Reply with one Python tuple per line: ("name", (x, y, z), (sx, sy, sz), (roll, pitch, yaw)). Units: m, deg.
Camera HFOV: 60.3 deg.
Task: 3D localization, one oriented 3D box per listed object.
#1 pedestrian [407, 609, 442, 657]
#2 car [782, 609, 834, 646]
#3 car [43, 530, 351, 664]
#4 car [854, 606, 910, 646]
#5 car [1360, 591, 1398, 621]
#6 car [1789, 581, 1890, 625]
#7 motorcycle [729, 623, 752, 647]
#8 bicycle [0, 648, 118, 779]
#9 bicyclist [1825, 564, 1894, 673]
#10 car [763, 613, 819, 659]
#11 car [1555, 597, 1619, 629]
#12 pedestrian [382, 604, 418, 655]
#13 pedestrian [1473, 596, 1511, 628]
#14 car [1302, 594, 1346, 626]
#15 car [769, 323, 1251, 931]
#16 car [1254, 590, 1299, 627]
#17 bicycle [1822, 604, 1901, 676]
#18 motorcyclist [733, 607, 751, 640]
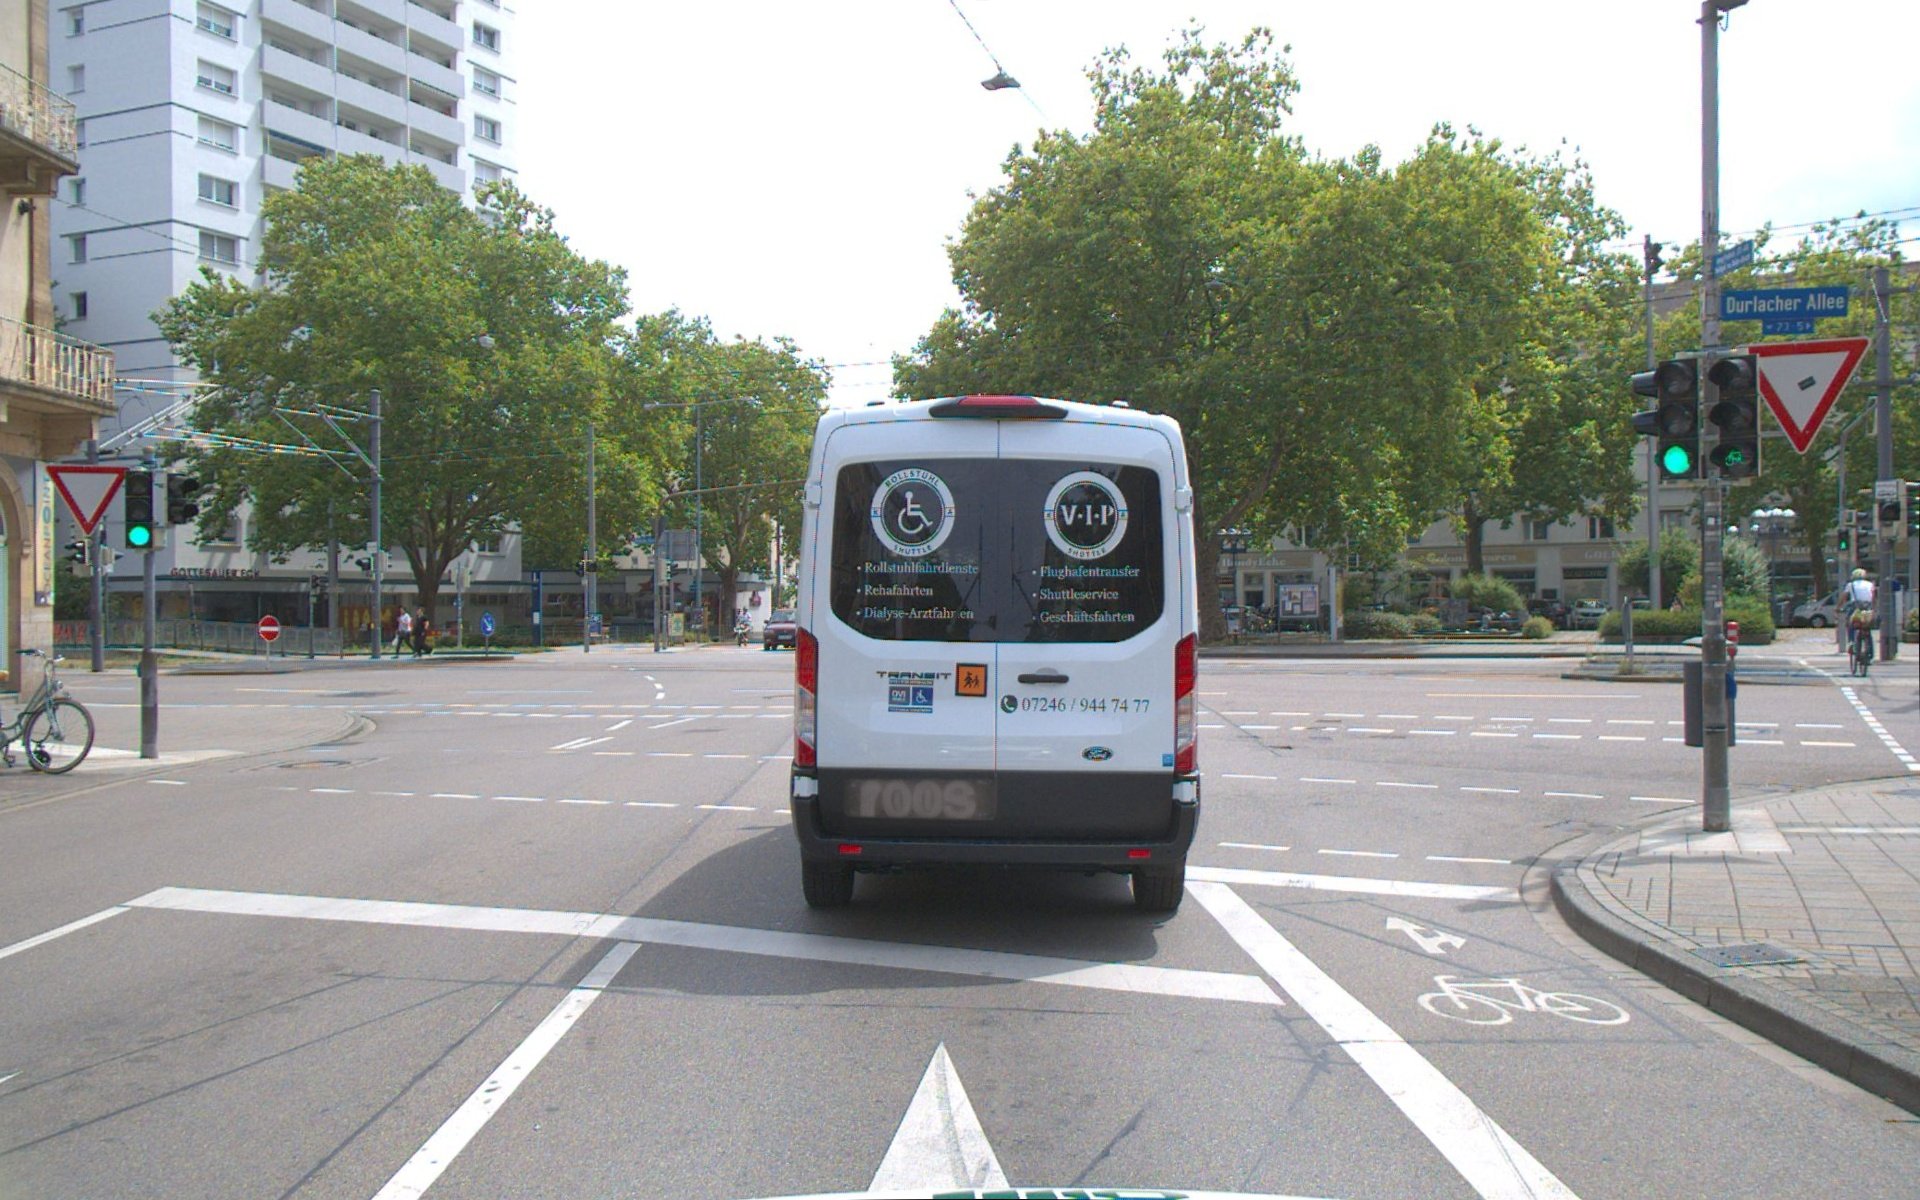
("pedestrian", (-17.311, 1.065, 53.484), (0.915, 1.541, 0.720), (-1, 0, 40))
("car", (-6.367, 1.139, 69.765), (1.707, 1.452, 4.033), (-1, 0, 2))
("car", (-24.413, -0.044, 52.829), (9.687, 3.984, 3.453), (-1, 0, 24))
("car", (-2.911, 0.953, 62.366), (1.794, 1.452, 4.122), (-1, 0, 2))
("car", (25.115, 0.336, 99.045), (1.767, 1.713, 4.000), (-1, 0, 21))
("car", (39.931, 0.127, 75.178), (3.907, 1.916, 1.856), (-1, 0, 24))
("motorcycle", (-9.502, 1.517, 71.684), (0.669, 0.988, 2.323), (-1, 0, 0))
("bicycle", (-9.185, 1.089, 16.243), (1.836, 1.187, 0.498), (1, -1, 20))
("bicyclist", (14.392, 0.298, 26.481), (0.885, 1.713, 0.756), (-1, 0, 23))
("car", (-6.014, 1.252, 59.203), (1.559, 1.534, 3.807), (-1, 0, 0))
("car", (32.038, 0.651, 84.600), (1.951, 1.529, 4.002), (-1, 0, 4))
("pedestrian", (-17.658, 0.931, 52.136), (0.792, 1.600, 0.722), (-1, 0, 33))
("pedestrian", (21.443, 0.487, 66.695), (1.068, 1.257, 1.441), (-3, -1, 4))
("car", (19.847, 0.525, 90.346), (1.766, 1.713, 4.002), (-1, 0, 4))
("car", (0.154, 0.154, 9.681), (2.138, 2.694, 4.626), (0, -1, -2))
("car", (17.416, 0.468, 91.063), (1.951, 1.964, 4.002), (-1, 0, 4))
("bicycle", (14.422, 0.625, 26.515), (0.884, 1.094, 1.969), (-1, 0, 22))
("motorcyclist", (-9.523, 1.027, 72.245), (0.669, 1.420, 0.681), (-1, 0, 0))
